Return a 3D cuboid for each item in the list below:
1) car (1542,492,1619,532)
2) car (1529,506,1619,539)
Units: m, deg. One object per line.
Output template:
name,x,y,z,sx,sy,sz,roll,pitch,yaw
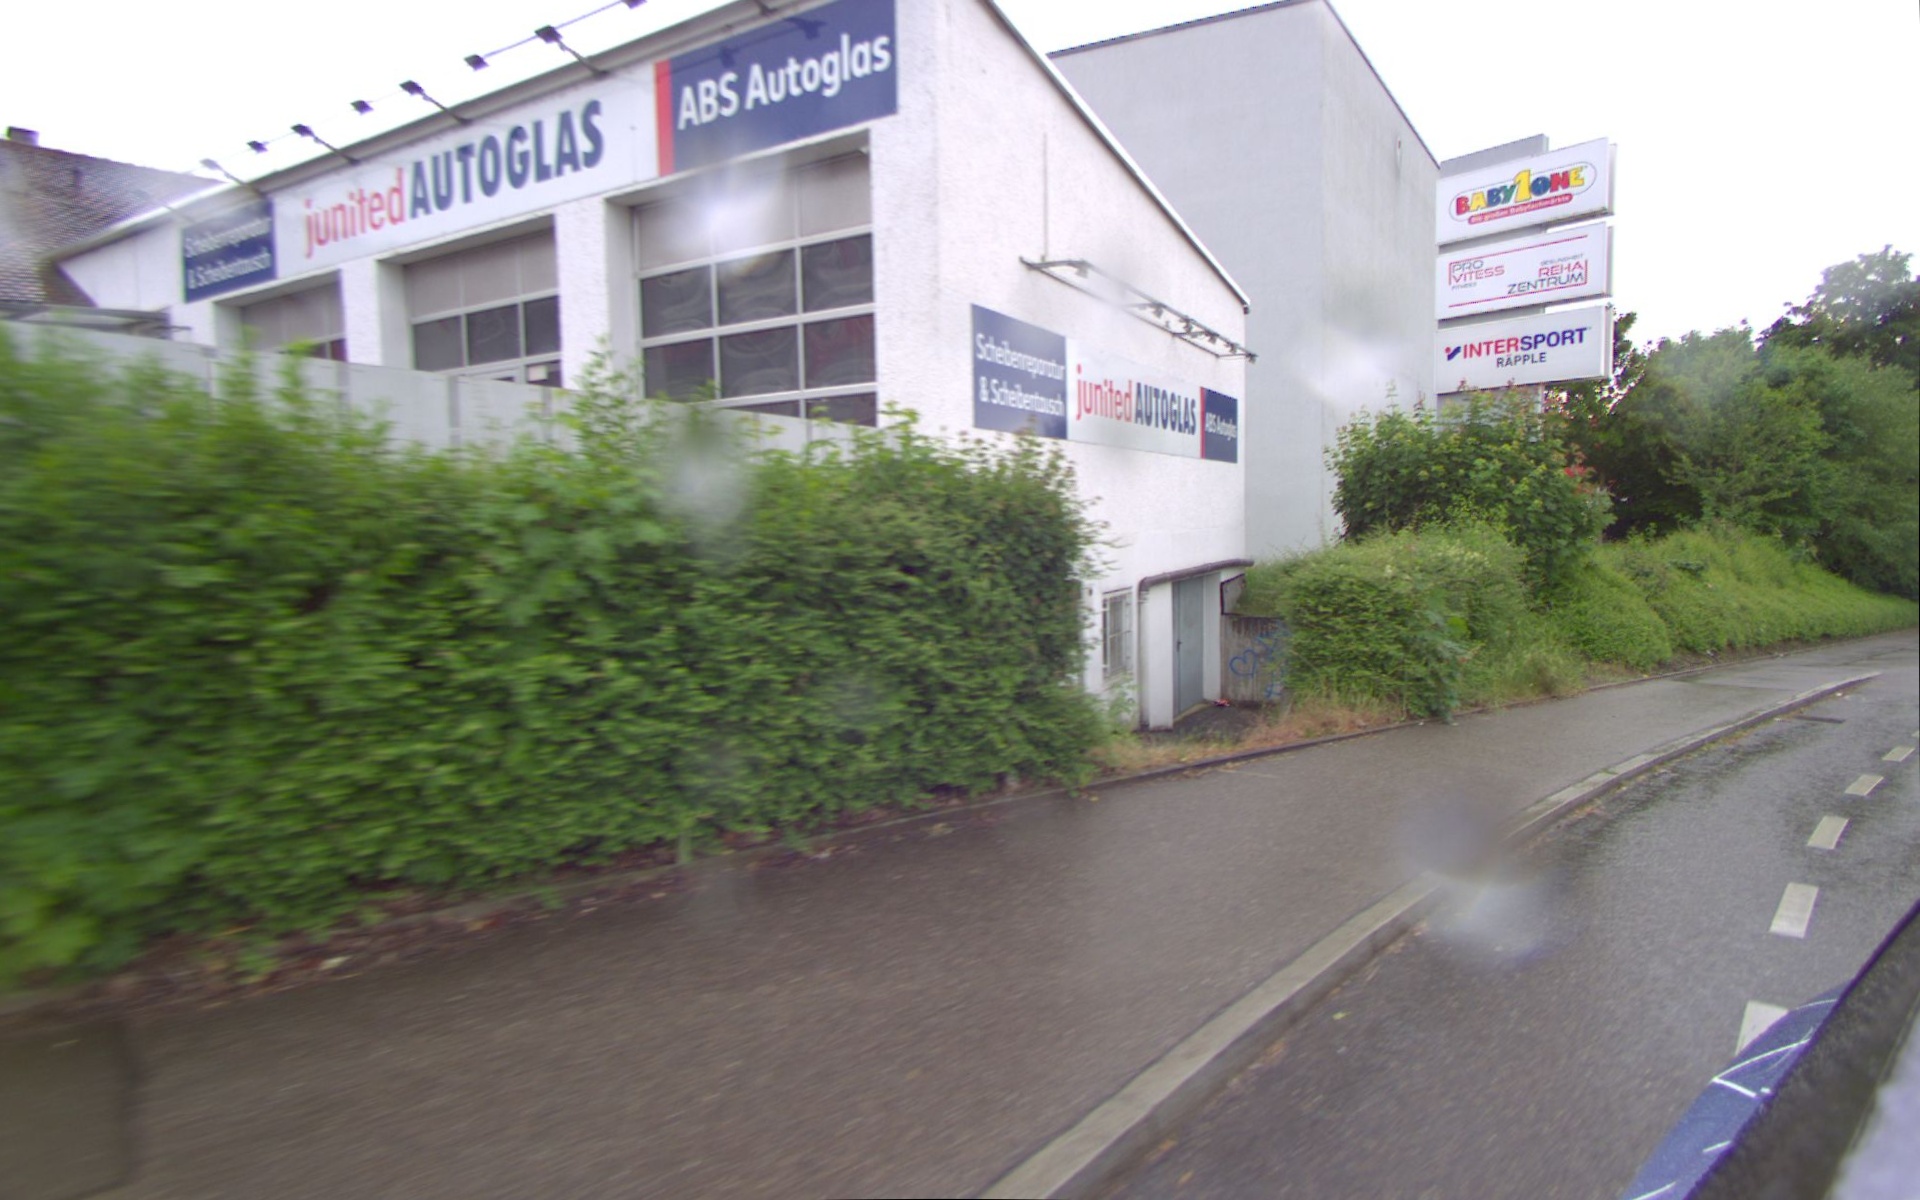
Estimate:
car,29.031,-4.108,47.346,2.984,1.698,1.470,1,4,37
car,24.690,-3.111,40.688,2.984,1.209,1.470,1,4,37
